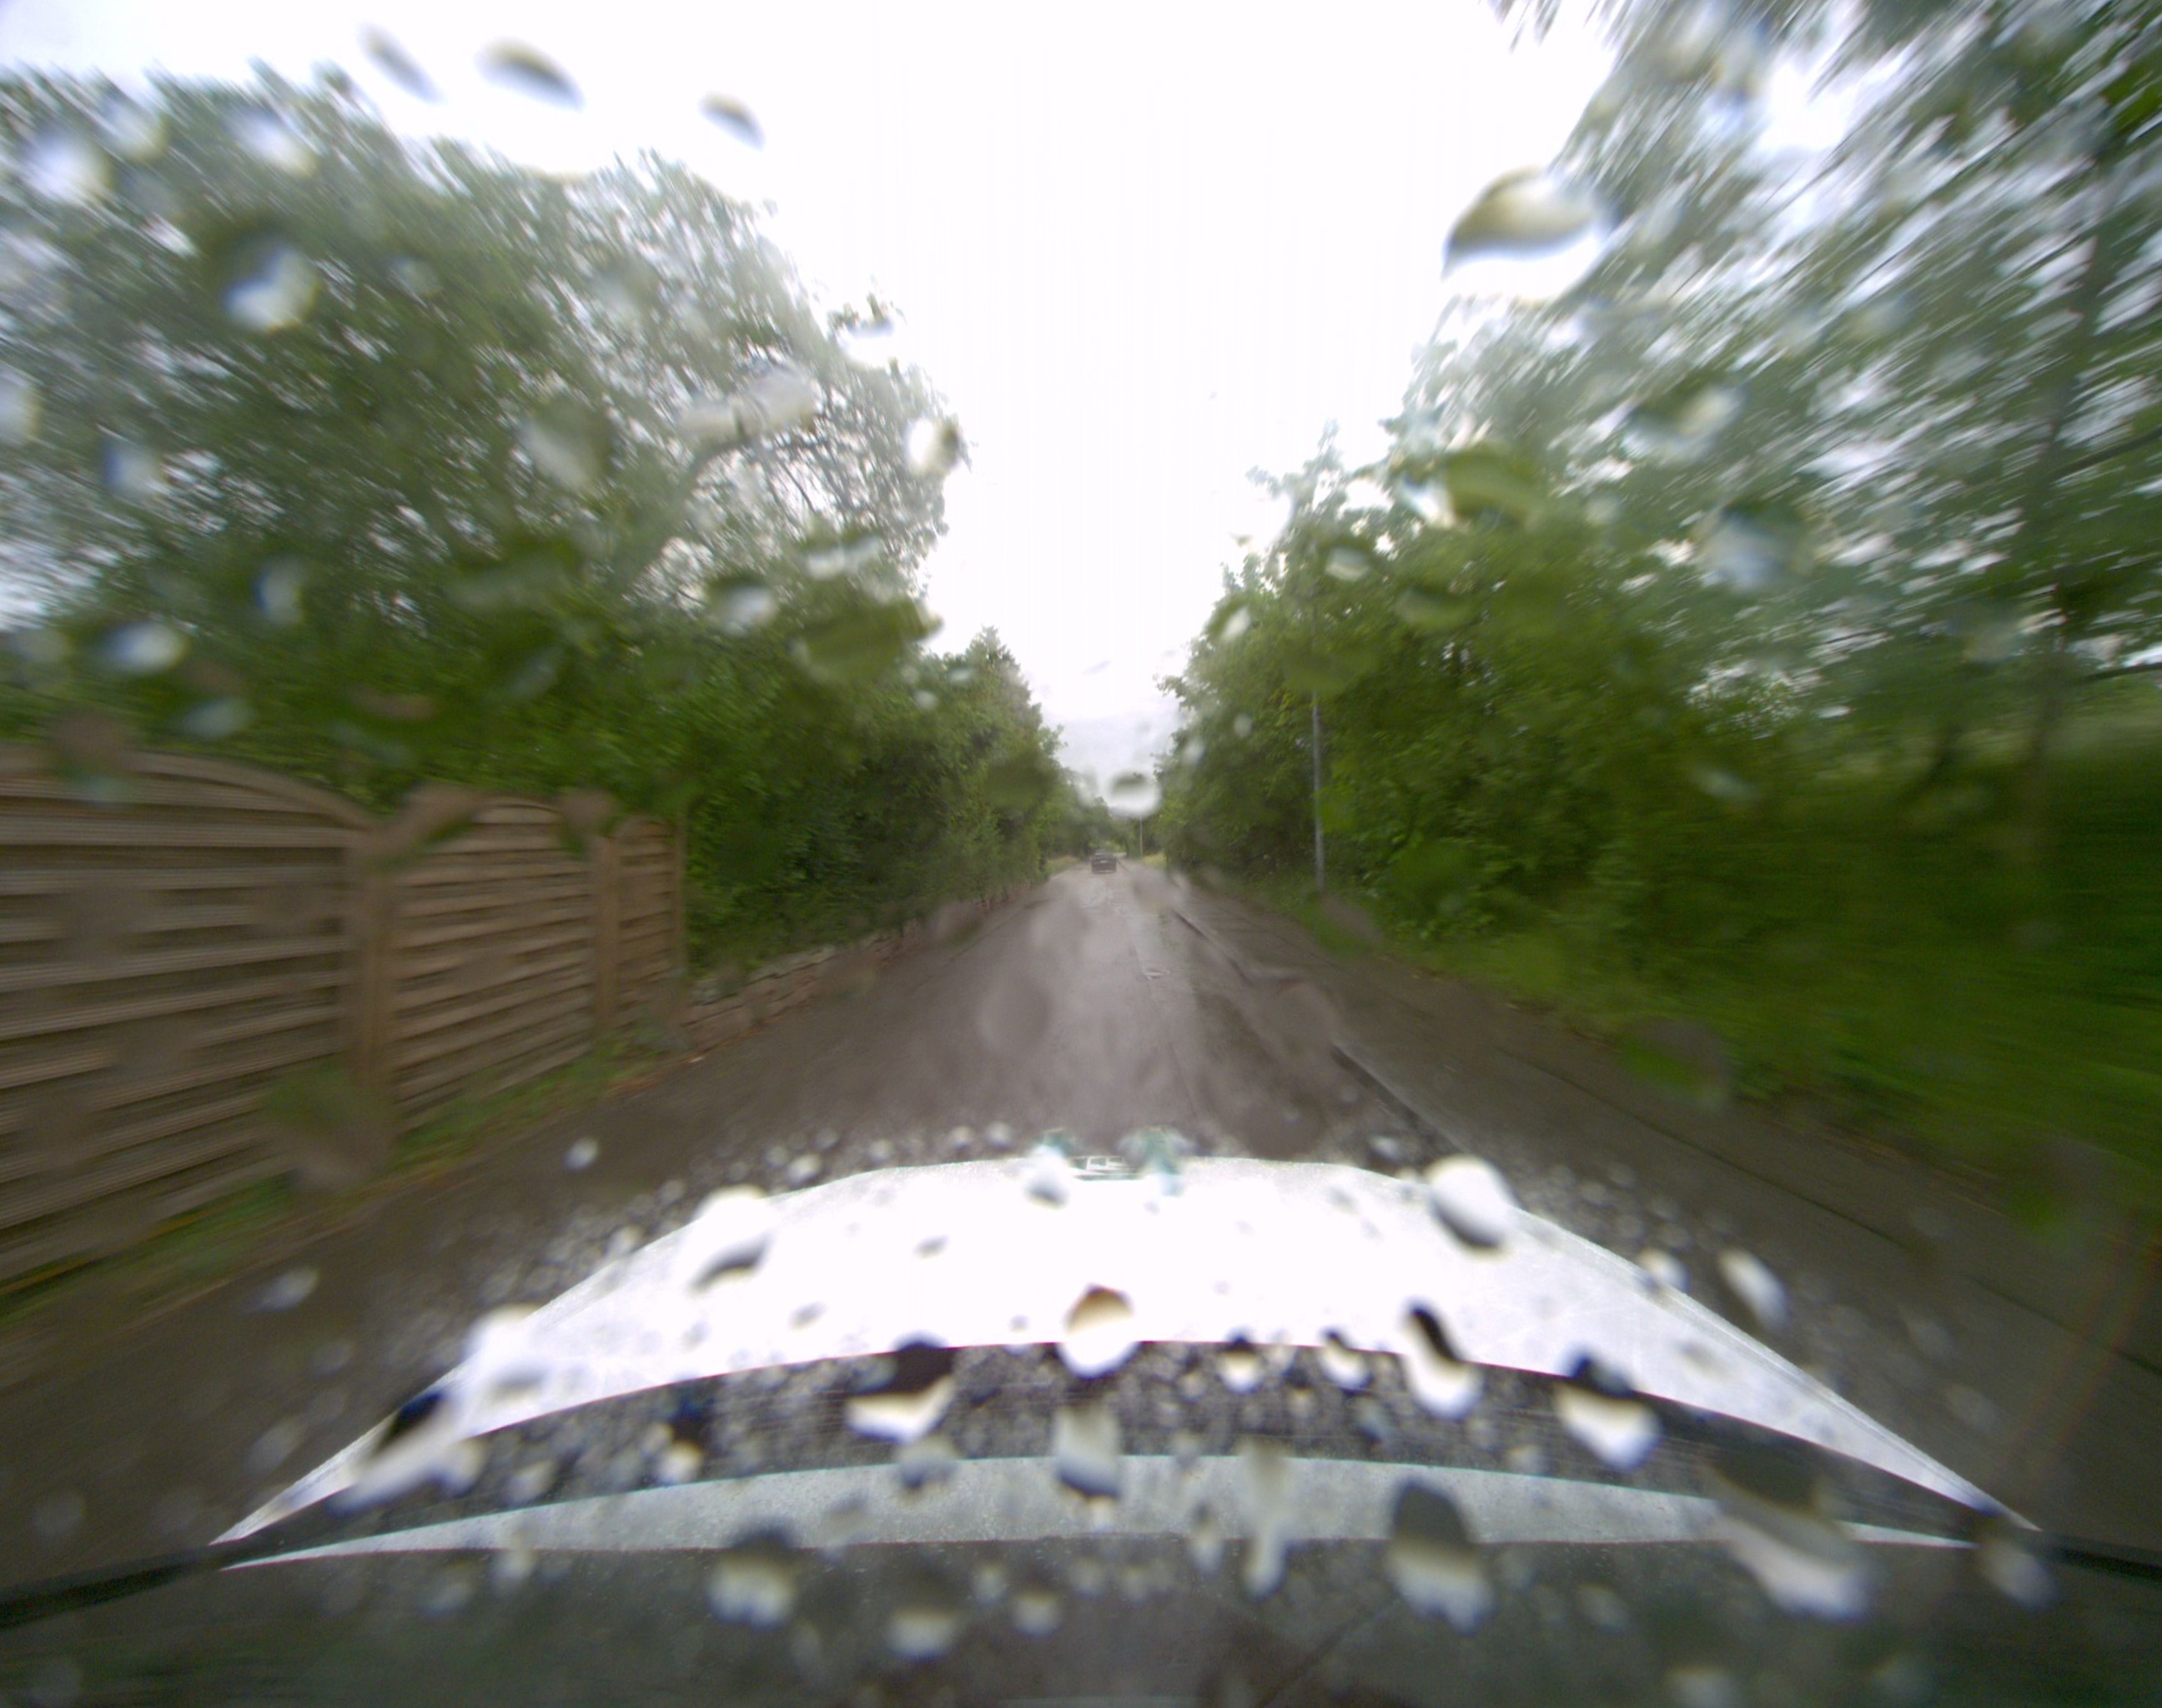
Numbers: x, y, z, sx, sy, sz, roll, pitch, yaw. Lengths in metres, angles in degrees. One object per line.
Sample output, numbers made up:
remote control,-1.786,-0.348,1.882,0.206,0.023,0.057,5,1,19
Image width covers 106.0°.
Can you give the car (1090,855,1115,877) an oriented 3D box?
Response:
car,1.542,0.836,58.041,1.628,1.450,3.547,-2,-1,3
